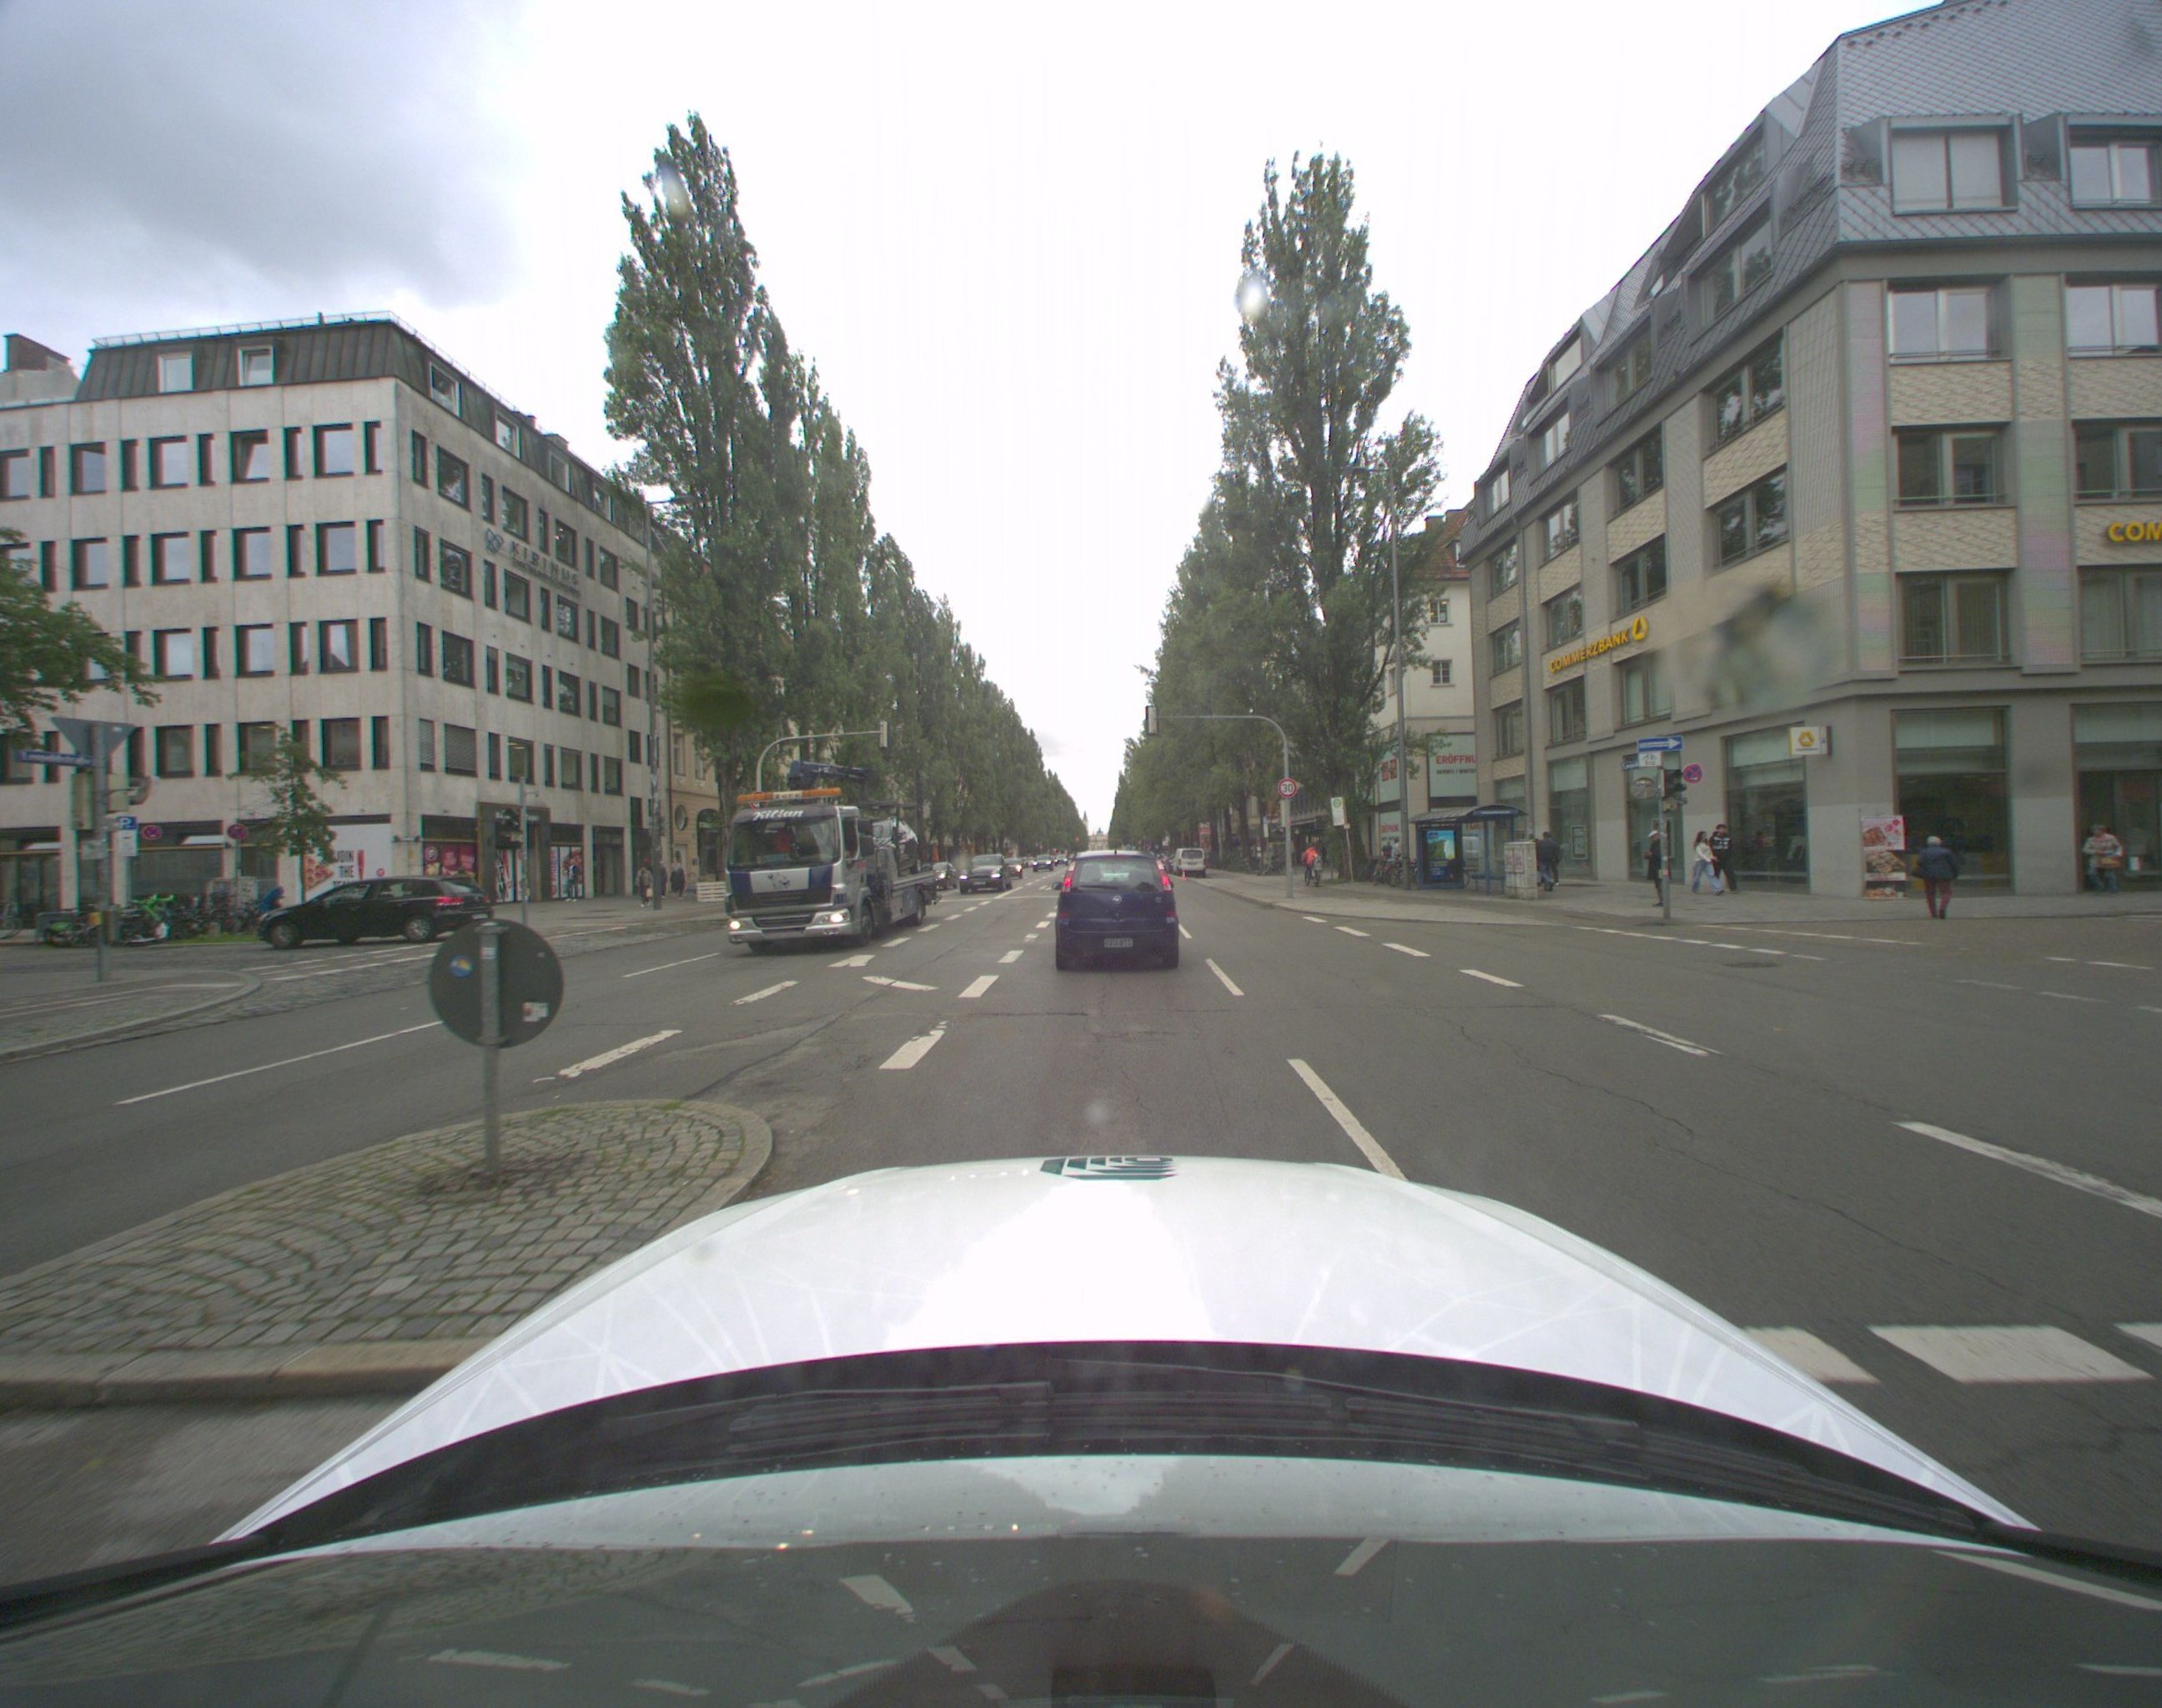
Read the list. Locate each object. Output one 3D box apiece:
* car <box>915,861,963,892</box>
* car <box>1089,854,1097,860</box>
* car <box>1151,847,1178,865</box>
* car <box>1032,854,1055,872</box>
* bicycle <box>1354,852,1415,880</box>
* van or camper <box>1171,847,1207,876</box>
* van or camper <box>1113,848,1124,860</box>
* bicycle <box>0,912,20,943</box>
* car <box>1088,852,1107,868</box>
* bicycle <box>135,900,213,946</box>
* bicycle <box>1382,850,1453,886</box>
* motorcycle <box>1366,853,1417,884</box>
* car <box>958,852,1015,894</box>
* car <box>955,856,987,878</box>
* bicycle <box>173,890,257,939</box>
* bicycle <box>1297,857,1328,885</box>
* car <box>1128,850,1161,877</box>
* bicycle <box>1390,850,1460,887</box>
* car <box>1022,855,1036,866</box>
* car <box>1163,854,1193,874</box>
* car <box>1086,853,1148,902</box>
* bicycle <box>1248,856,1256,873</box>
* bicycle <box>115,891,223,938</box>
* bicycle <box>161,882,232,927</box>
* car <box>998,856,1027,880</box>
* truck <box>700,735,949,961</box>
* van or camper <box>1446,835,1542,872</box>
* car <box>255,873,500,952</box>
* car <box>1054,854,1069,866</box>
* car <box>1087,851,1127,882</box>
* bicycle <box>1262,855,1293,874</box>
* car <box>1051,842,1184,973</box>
[{"bbox_3d":[-7.246,1.116,41.943,1.636,1.439,3.997,-3,0,1],"label":"car"},{"bbox_3d":[3.110,0.844,215.085,1.955,1.399,3.779,-2,0,1],"label":"car"},{"bbox_3d":[7.372,0.201,72.440,1.812,1.506,4.229,-2,0,-2],"label":"car"},{"bbox_3d":[-3.721,0.907,81.145,1.906,1.681,4.587,-2,0,1],"label":"car"},{"bbox_3d":[12.219,0.478,32.841,2.141,1.017,0.874,-2,0,0],"label":"bicycle"},{"bbox_3d":[7.392,0.516,55.982,1.862,1.883,4.904,-1,0,1],"label":"van or camper"},{"bbox_3d":[8.841,-0.021,192.268,2.467,2.581,5.846,-2,0,2],"label":"van or camper"},{"bbox_3d":[-33.752,2.290,25.481,1.774,0.923,0.411,-2,0,29],"label":"bicycle"},{"bbox_3d":[1.714,0.619,85.296,1.987,1.497,4.000,-2,0,0],"label":"car"},{"bbox_3d":[-26.785,2.002,24.092,0.450,1.184,2.053,-2,0,-14],"label":"bicycle"},{"bbox_3d":[12.424,0.518,30.070,2.335,1.252,0.633,-2,0,0],"label":"bicycle"},{"bbox_3d":[11.900,0.546,31.243,1.718,1.140,0.510,-2,0,2],"label":"motorcycle"},{"bbox_3d":[-4.165,0.795,36.555,1.877,1.746,4.441,-2,0,2],"label":"car"},{"bbox_3d":[-9.163,1.085,68.410,1.812,1.617,4.720,-1,2,3],"label":"car"},{"bbox_3d":[-23.355,1.602,22.016,0.414,1.184,1.850,-2,0,-5],"label":"bicycle"},{"bbox_3d":[9.373,0.661,33.055,0.624,1.086,2.264,-2,0,1],"label":"bicycle"},{"bbox_3d":[4.038,0.581,52.488,1.701,1.574,3.998,-2,0,-1],"label":"car"},{"bbox_3d":[12.434,0.518,29.475,2.307,1.252,0.477,-2,0,0],"label":"bicycle"},{"bbox_3d":[-7.785,1.022,122.948,1.829,1.546,4.085,-2,0,-1],"label":"car"},{"bbox_3d":[7.246,0.764,61.358,1.714,1.442,4.352,0,0,-1],"label":"car"},{"bbox_3d":[1.200,0.765,28.585,1.987,1.497,4.000,-2,0,0],"label":"car"},{"bbox_3d":[11.270,0.686,53.675,0.362,1.038,1.735,-2,0,9],"label":"bicycle"},{"bbox_3d":[-26.238,1.713,23.483,0.412,1.184,2.073,-2,0,18],"label":"bicycle"},{"bbox_3d":[-25.264,1.412,23.296,0.416,1.184,1.996,-2,0,-18],"label":"bicycle"},{"bbox_3d":[-4.772,0.948,57.151,1.556,1.496,3.695,-3,0,1],"label":"car"},{"bbox_3d":[-4.953,-0.115,17.766,2.454,3.670,8.442,-2,0,1],"label":"truck"},{"bbox_3d":[21.549,-0.013,42.658,4.085,1.867,1.900,0,0,5],"label":"van or camper"},{"bbox_3d":[-15.402,1.237,18.016,3.686,1.475,1.769,-2,0,-5],"label":"car"},{"bbox_3d":[-2.728,0.800,117.610,1.928,1.623,4.337,-2,0,1],"label":"car"},{"bbox_3d":[1.312,0.632,42.774,1.987,1.497,4.000,-2,0,0],"label":"car"},{"bbox_3d":[11.648,0.625,48.265,1.758,1.044,0.482,-2,0,-11],"label":"bicycle"},{"bbox_3d":[0.486,0.680,12.428,1.675,1.641,4.000,-1,0,0],"label":"car"}]
